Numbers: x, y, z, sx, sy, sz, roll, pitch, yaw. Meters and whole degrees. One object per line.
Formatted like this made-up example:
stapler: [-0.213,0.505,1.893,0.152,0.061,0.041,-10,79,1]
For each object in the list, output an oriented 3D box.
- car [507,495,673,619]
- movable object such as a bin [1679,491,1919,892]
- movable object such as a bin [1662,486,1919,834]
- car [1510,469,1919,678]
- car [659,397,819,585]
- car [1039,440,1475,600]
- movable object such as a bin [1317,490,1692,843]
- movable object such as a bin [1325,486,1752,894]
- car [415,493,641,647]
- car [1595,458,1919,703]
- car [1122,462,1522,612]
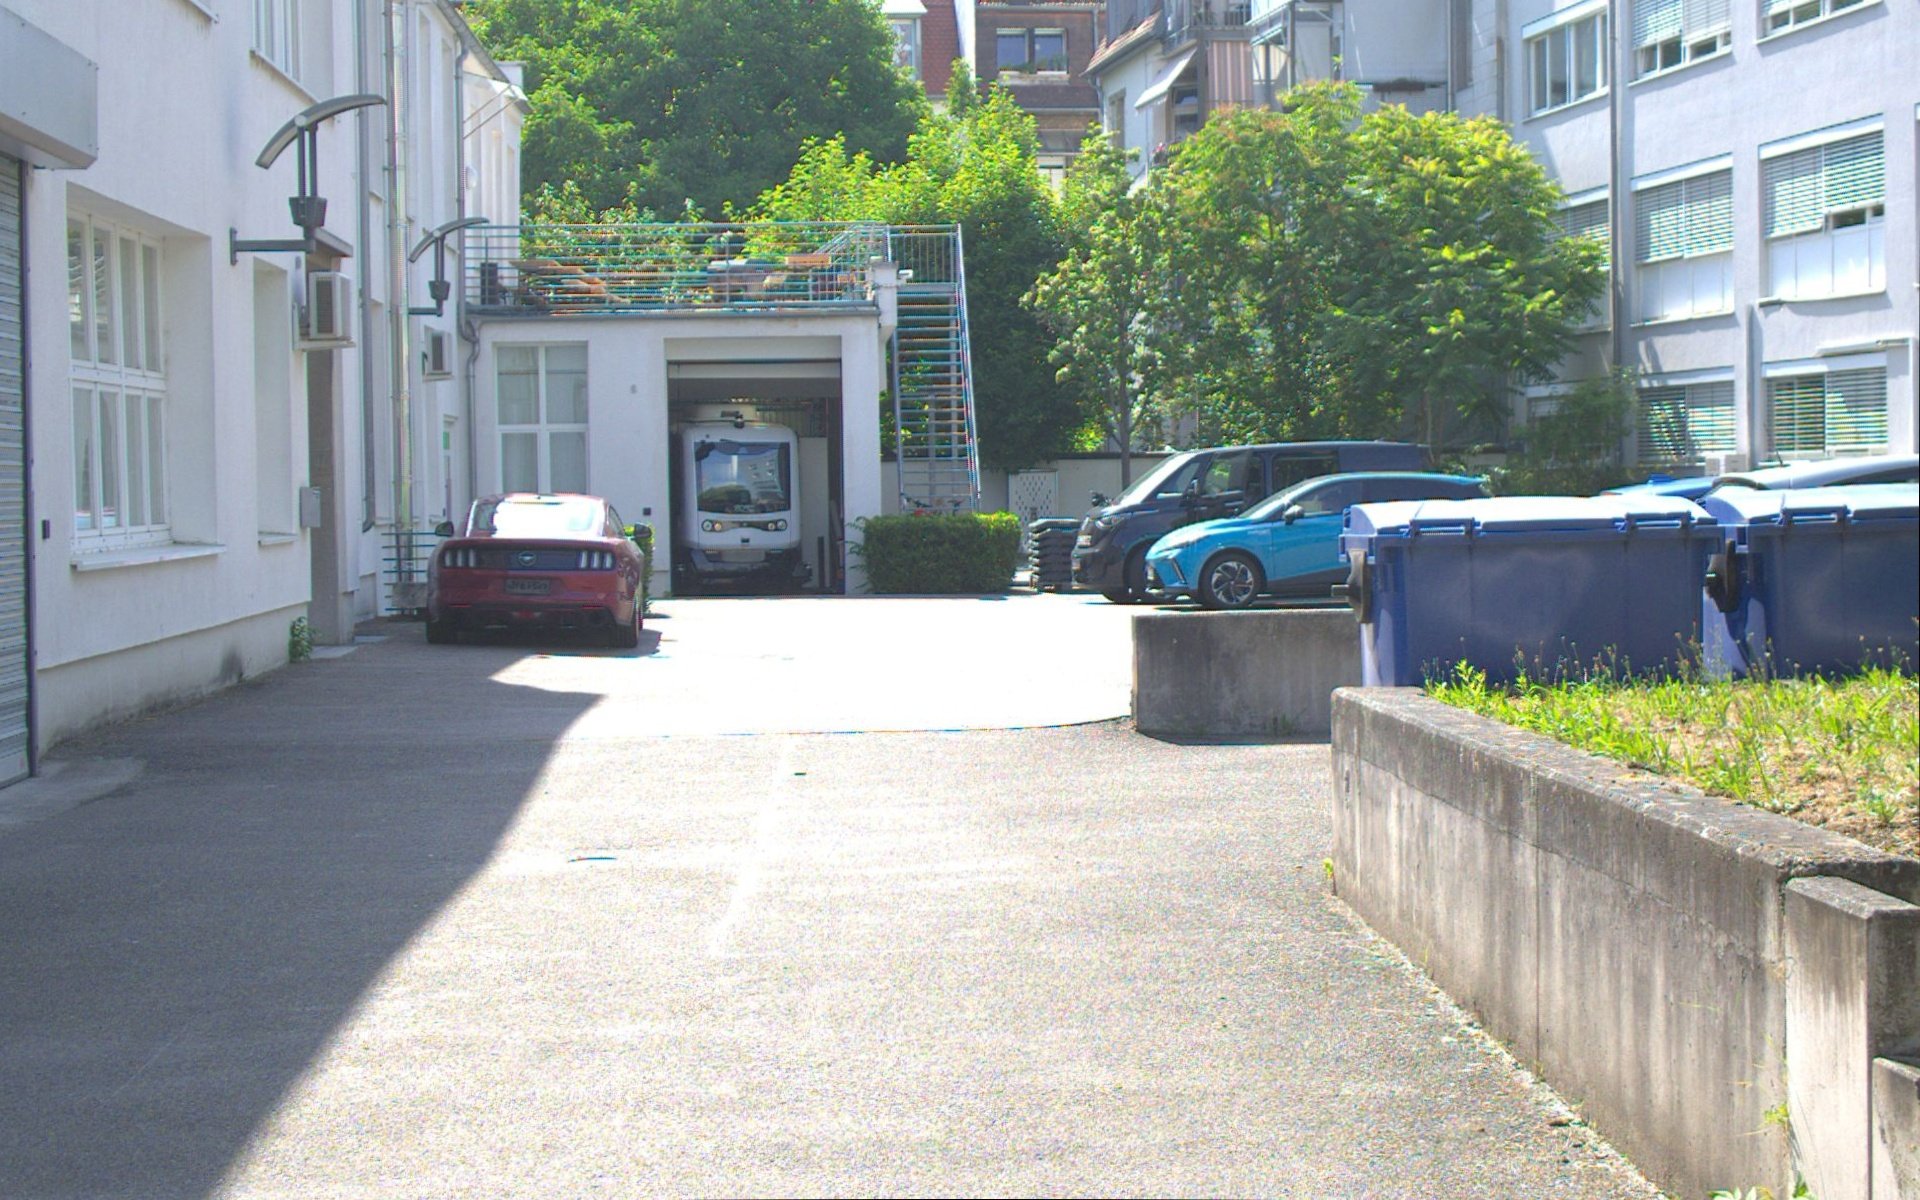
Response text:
car: [-4.180,-0.527,39.281,1.614,1.291,3.759,-2,2,-2]
movable object such as a bin: [3.313,0.290,12.235,1.247,1.336,1.142,-1,2,0]
movable object such as a bin: [3.617,0.214,14.054,1.155,1.331,1.142,-2,2,-6]
car: [6.189,-0.234,25.144,3.986,1.389,1.689,-2,2,-3]
car: [-3.275,-1.642,52.159,2.174,2.598,6.735,-2,2,-2]
car: [3.685,-1.036,42.879,4.950,1.761,2.097,-3,3,-15]
movable object such as a bin: [2.201,0.241,14.063,1.247,1.350,1.129,-2,2,-6]
movable object such as a bin: [2.022,0.299,12.221,1.247,1.315,1.142,-3,1,-1]
car: [-3.993,-0.324,32.316,1.851,1.315,4.001,0,2,-4]
car: [6.230,-0.187,21.720,3.986,1.422,1.812,-2,2,-5]
car: [4.135,-0.755,39.650,4.228,1.527,2.001,-2,3,-6]
